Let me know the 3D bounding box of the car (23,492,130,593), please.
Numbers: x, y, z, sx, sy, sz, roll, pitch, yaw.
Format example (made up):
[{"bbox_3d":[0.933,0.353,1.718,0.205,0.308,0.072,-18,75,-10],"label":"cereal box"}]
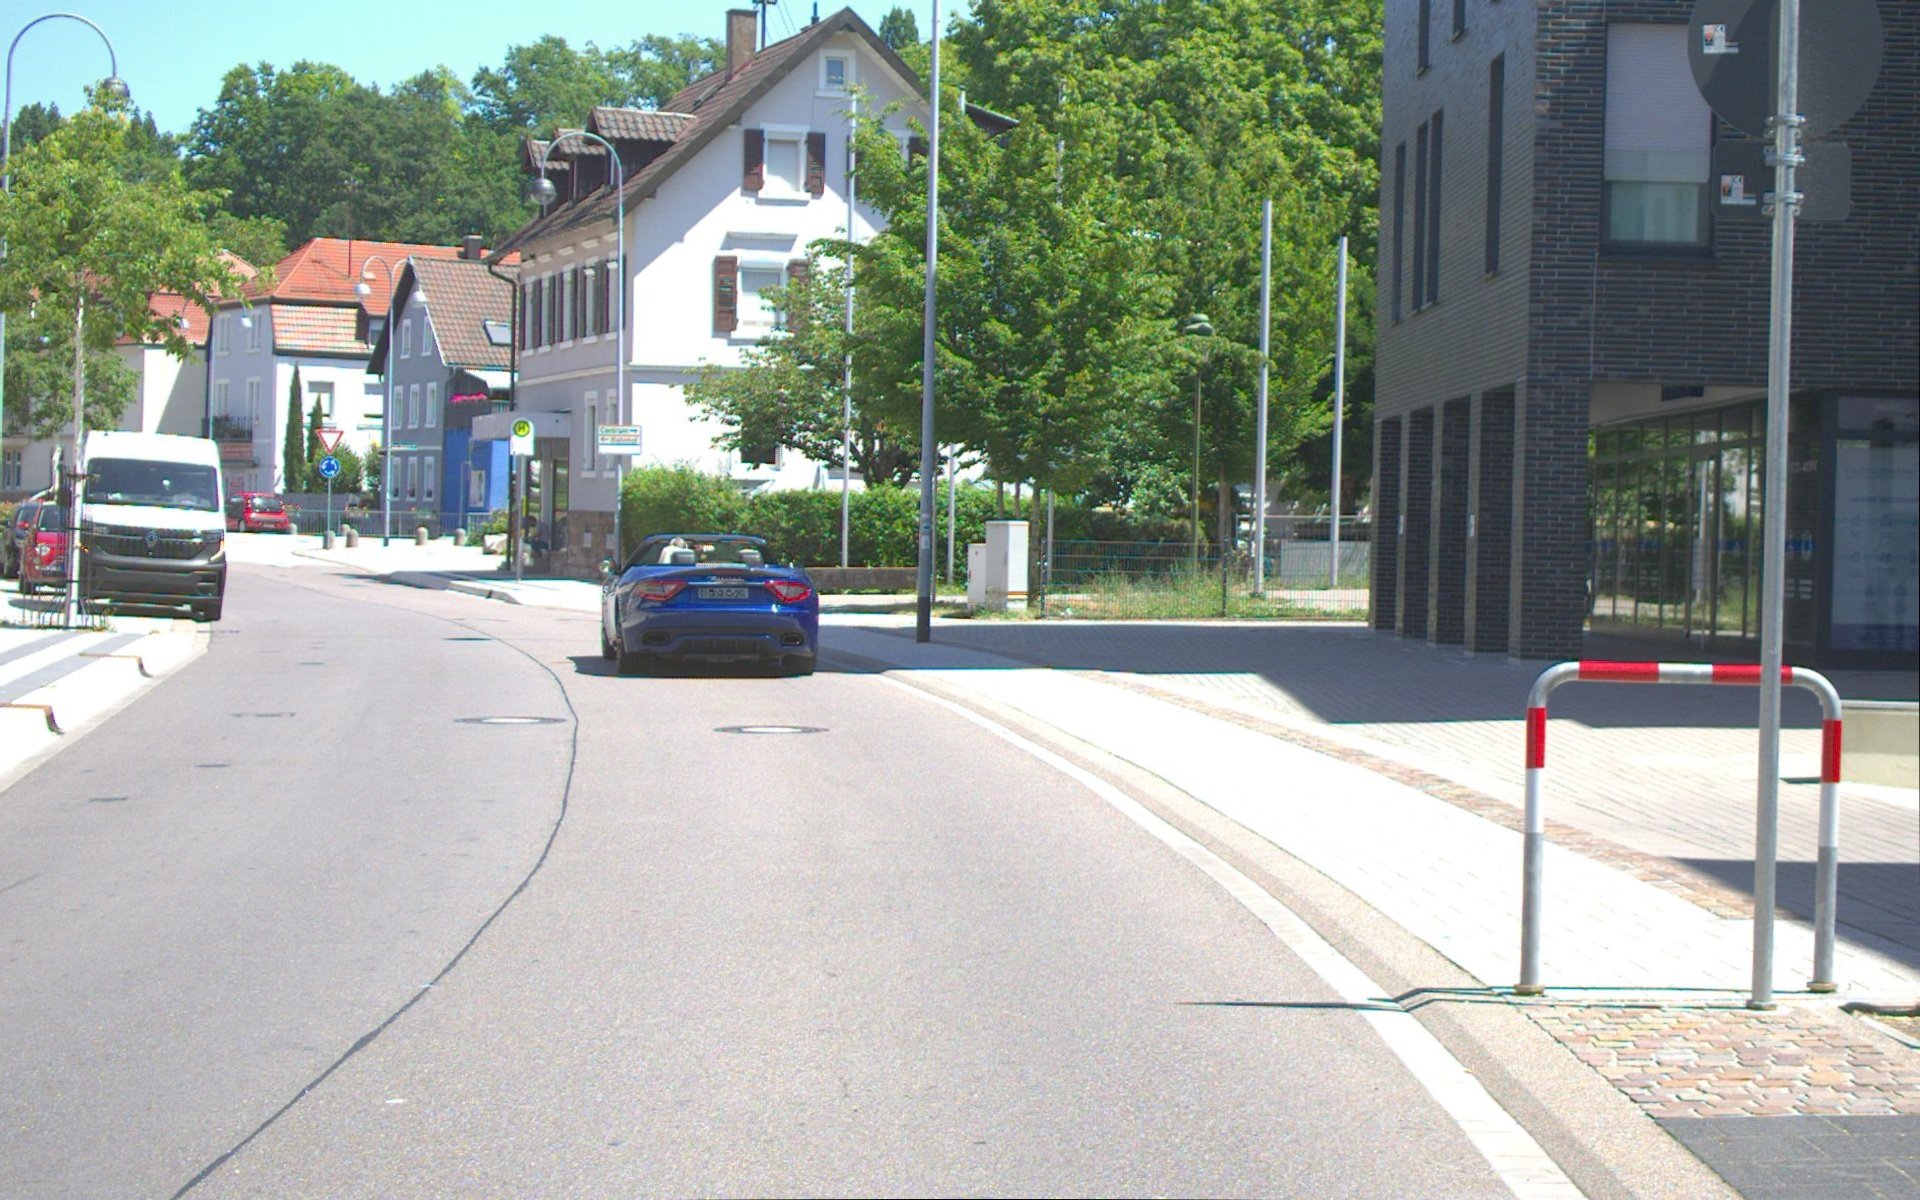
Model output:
[{"bbox_3d":[-14.035,-0.925,54.726,1.559,1.515,3.517,1,1,-13],"label":"car"}]

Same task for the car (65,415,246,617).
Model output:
[{"bbox_3d":[-11.023,-1.150,46.831,2.091,2.489,5.505,3,1,-15],"label":"car"}]

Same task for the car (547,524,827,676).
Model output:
[{"bbox_3d":[-2.755,-0.038,33.767,1.910,1.356,4.287,0,2,-16],"label":"car"}]

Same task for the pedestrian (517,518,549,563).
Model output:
[{"bbox_3d":[-9.645,-1.351,77.605,0.590,0.996,0.724,0,2,-19],"label":"pedestrian"}]

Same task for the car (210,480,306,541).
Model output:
[{"bbox_3d":[-24.174,-3.083,118.293,1.993,2.007,4.000,1,1,-30],"label":"car"}]
